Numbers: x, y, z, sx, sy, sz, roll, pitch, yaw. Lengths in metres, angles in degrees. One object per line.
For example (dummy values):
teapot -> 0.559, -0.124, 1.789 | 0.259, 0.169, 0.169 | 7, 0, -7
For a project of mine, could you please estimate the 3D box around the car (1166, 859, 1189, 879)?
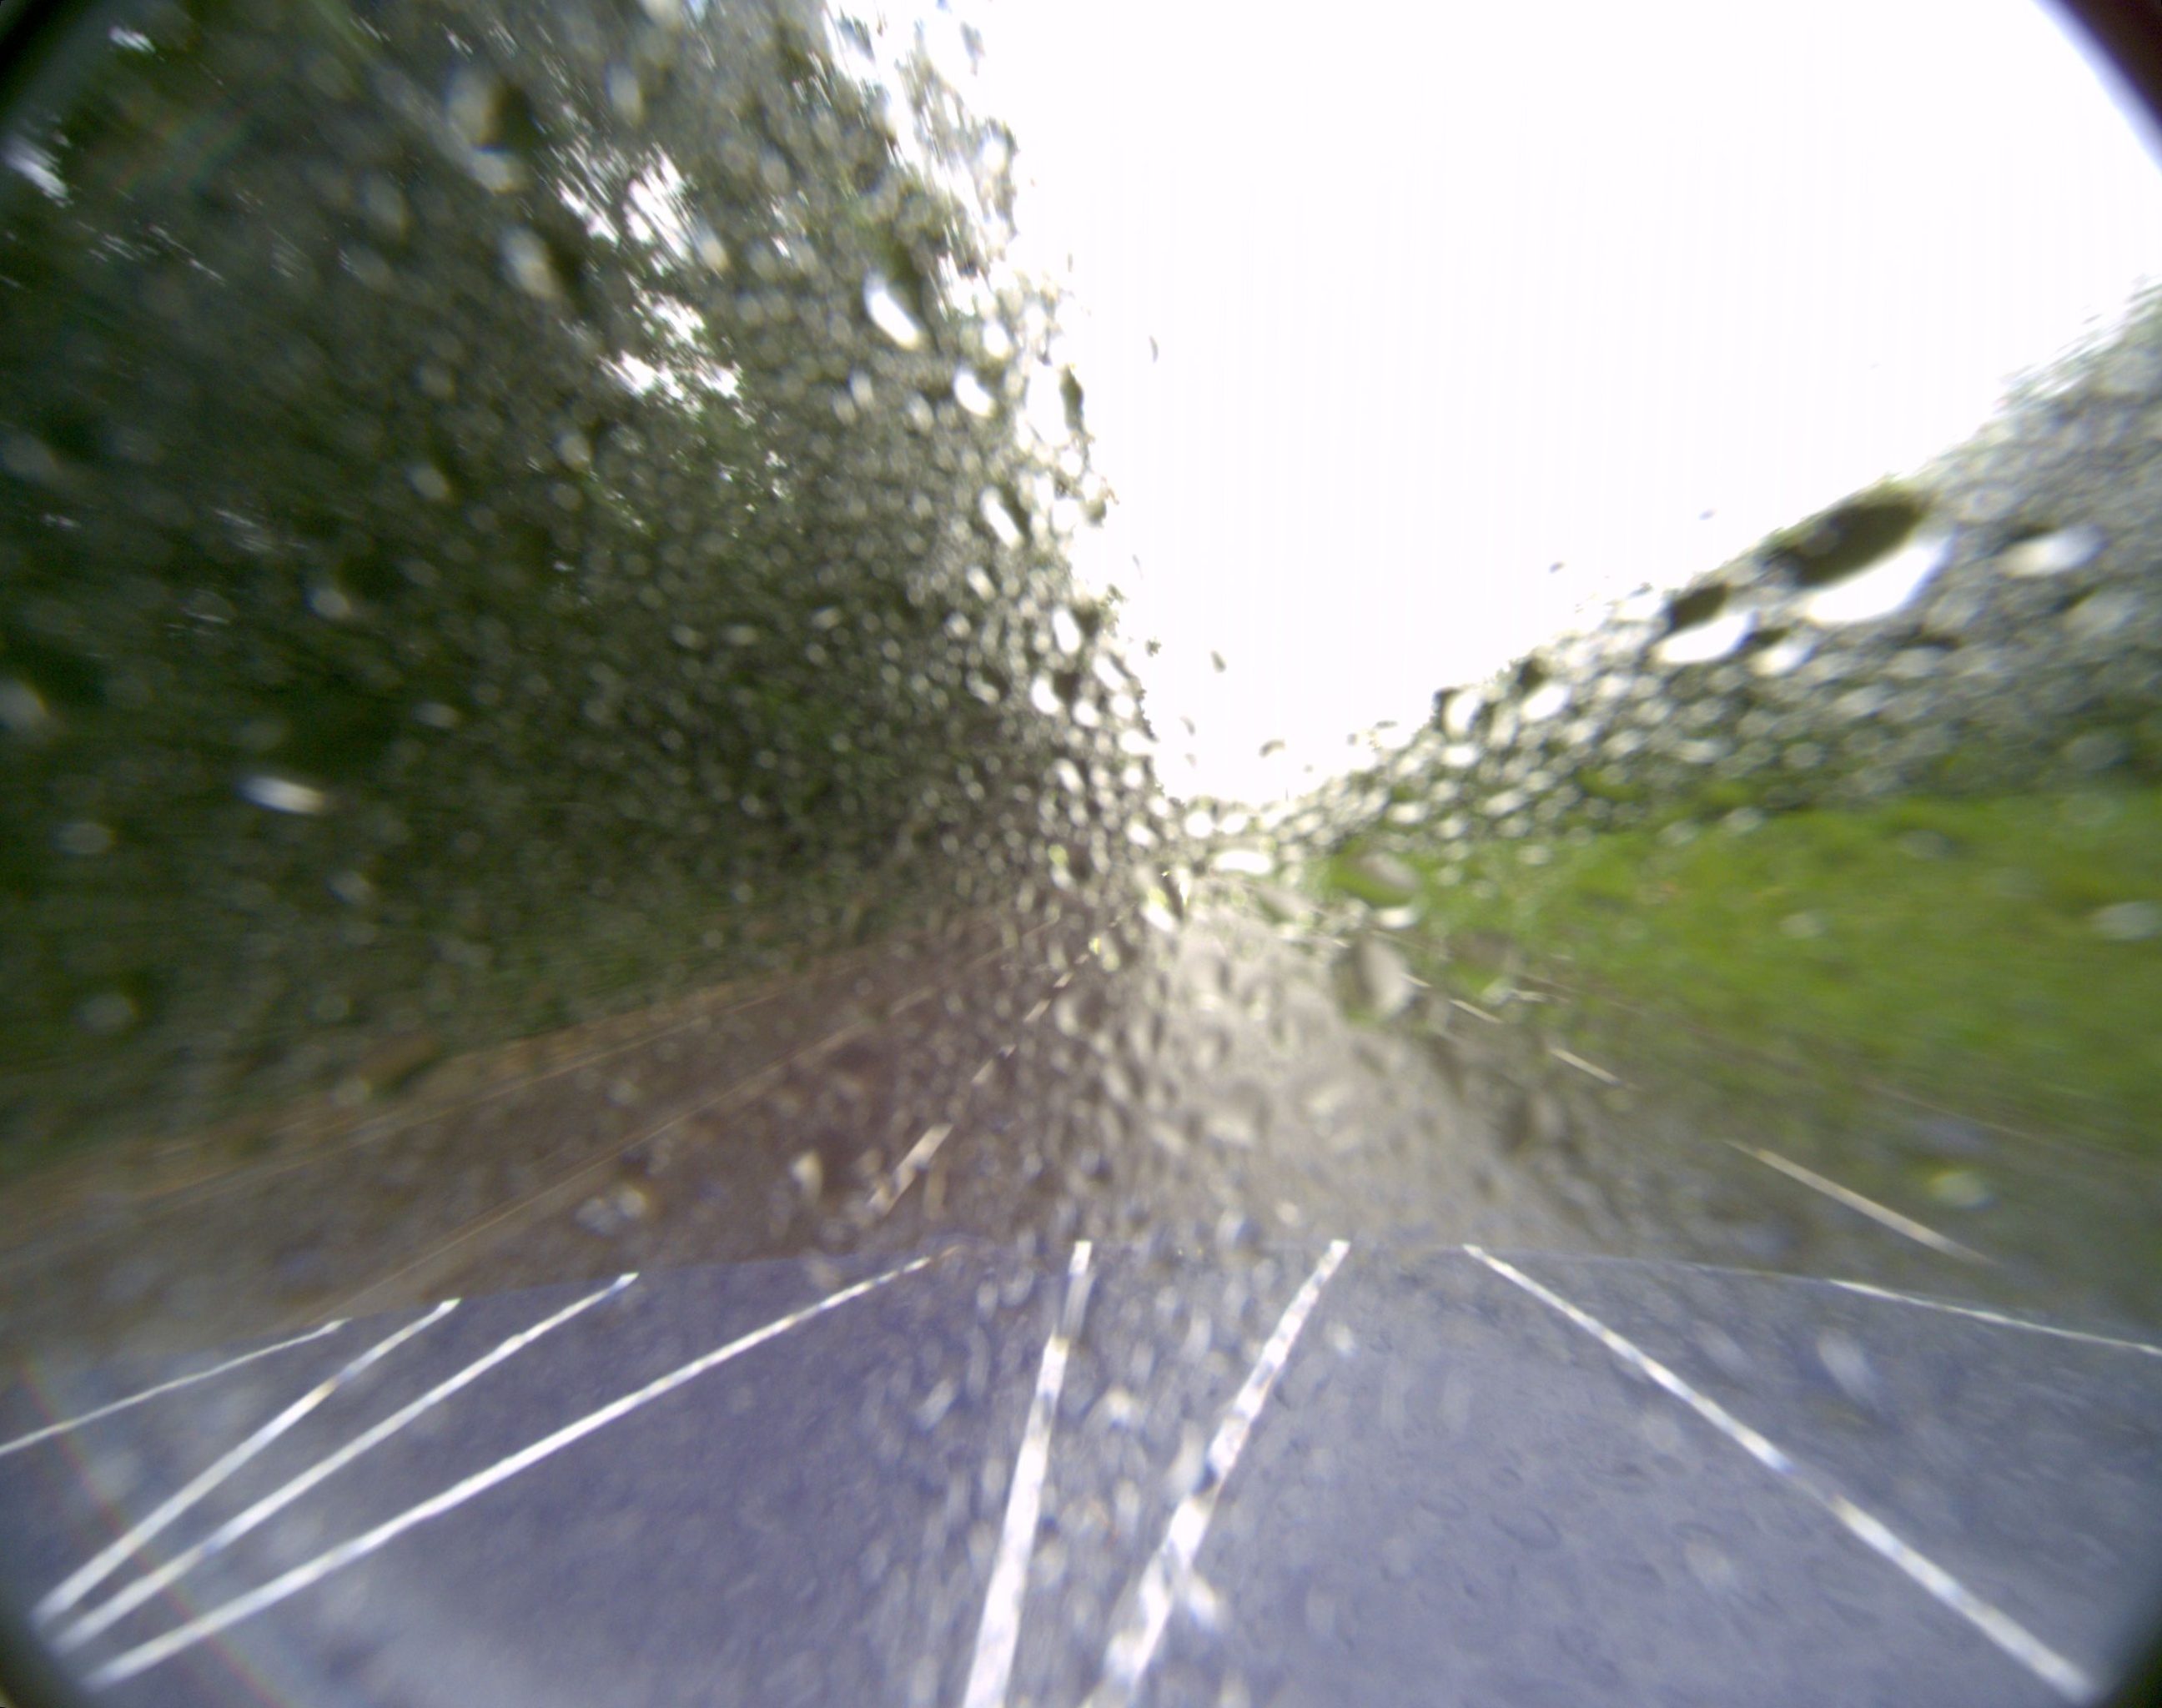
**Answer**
car -> 7.974, 1.198, 62.736 | 1.798, 1.543, 4.002 | 1, 0, 8
